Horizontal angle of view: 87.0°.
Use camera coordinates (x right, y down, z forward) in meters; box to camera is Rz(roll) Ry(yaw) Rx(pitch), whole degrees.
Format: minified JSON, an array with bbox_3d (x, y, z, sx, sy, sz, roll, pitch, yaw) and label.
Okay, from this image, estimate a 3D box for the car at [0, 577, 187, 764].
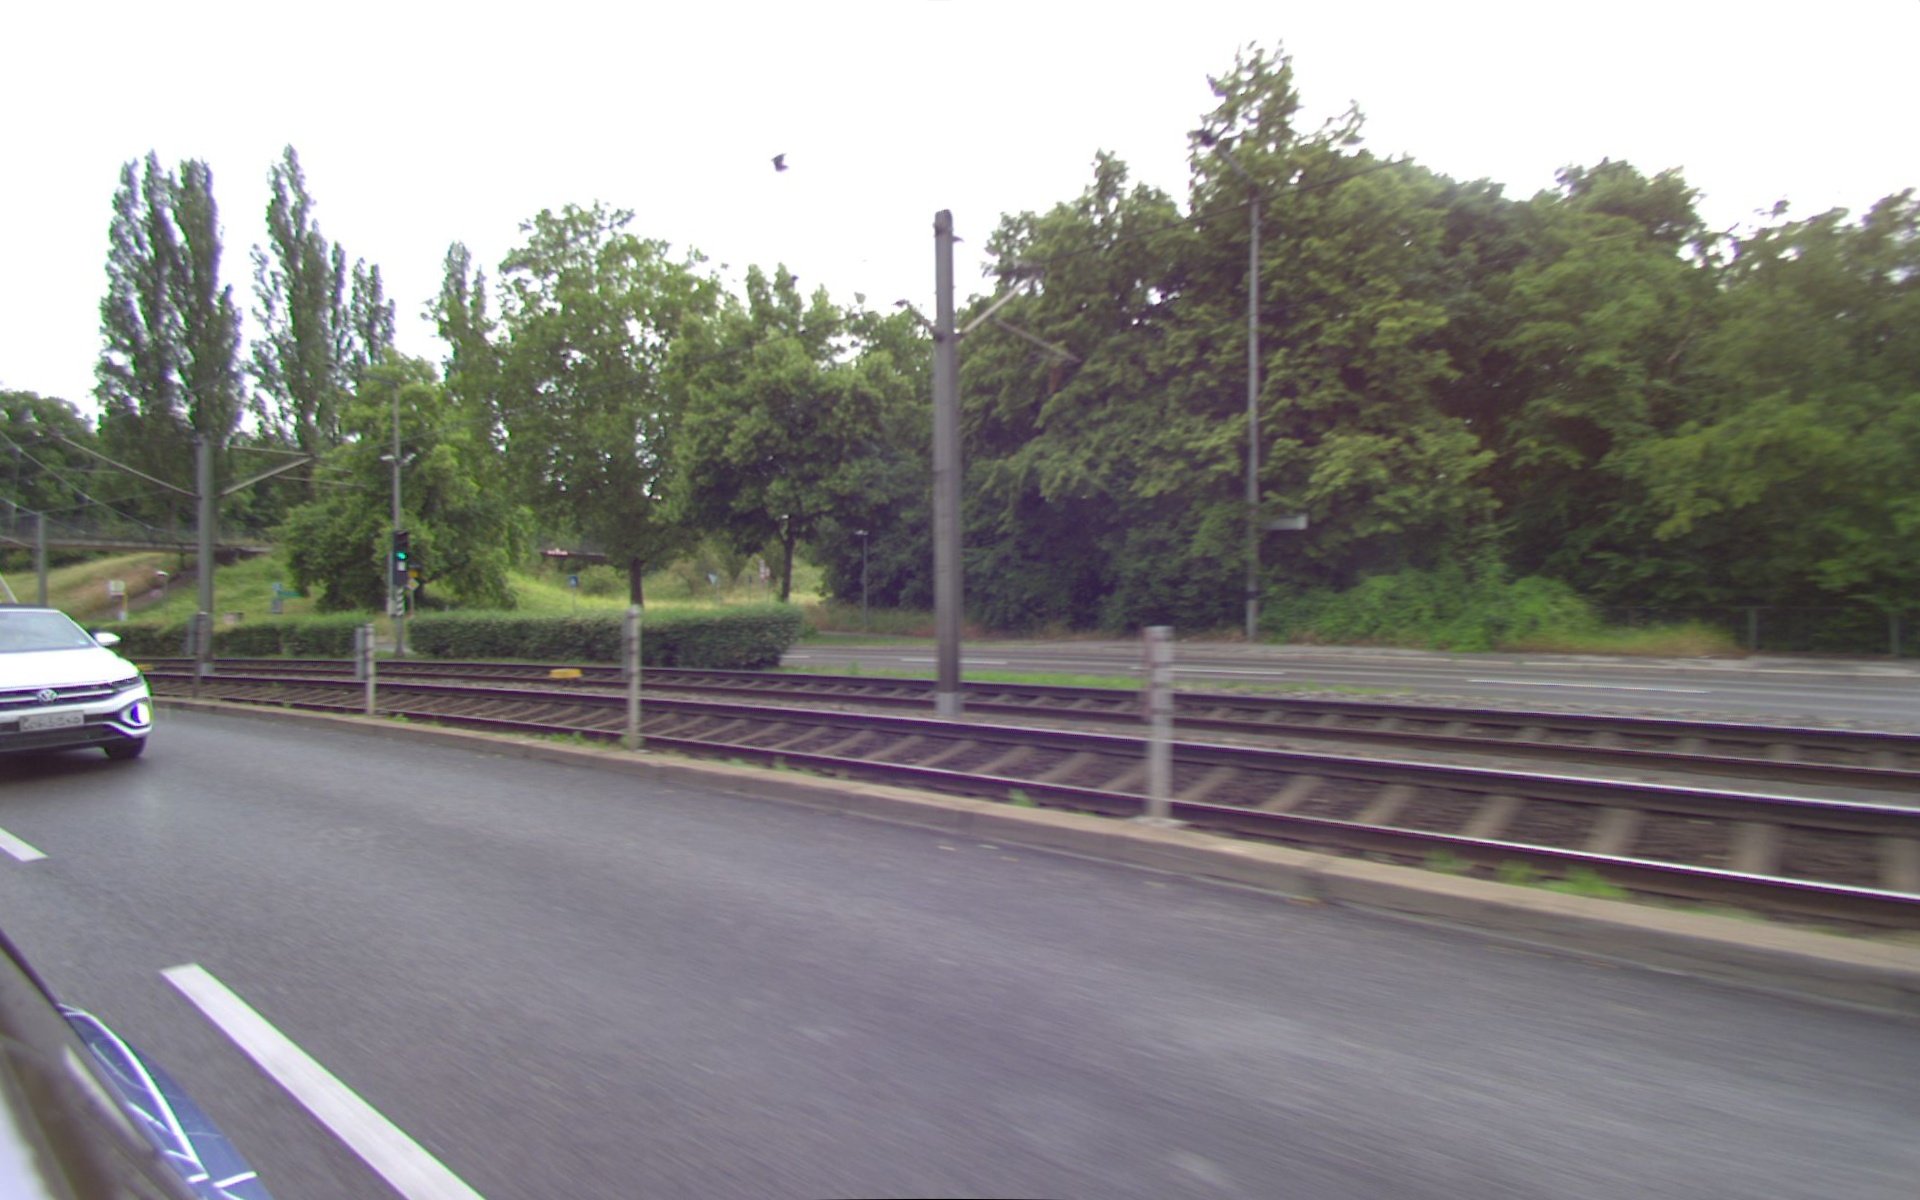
[{"bbox_3d":[-9.620,0.626,9.864,4.525,1.535,1.857,-1,0,32],"label":"car"}]
